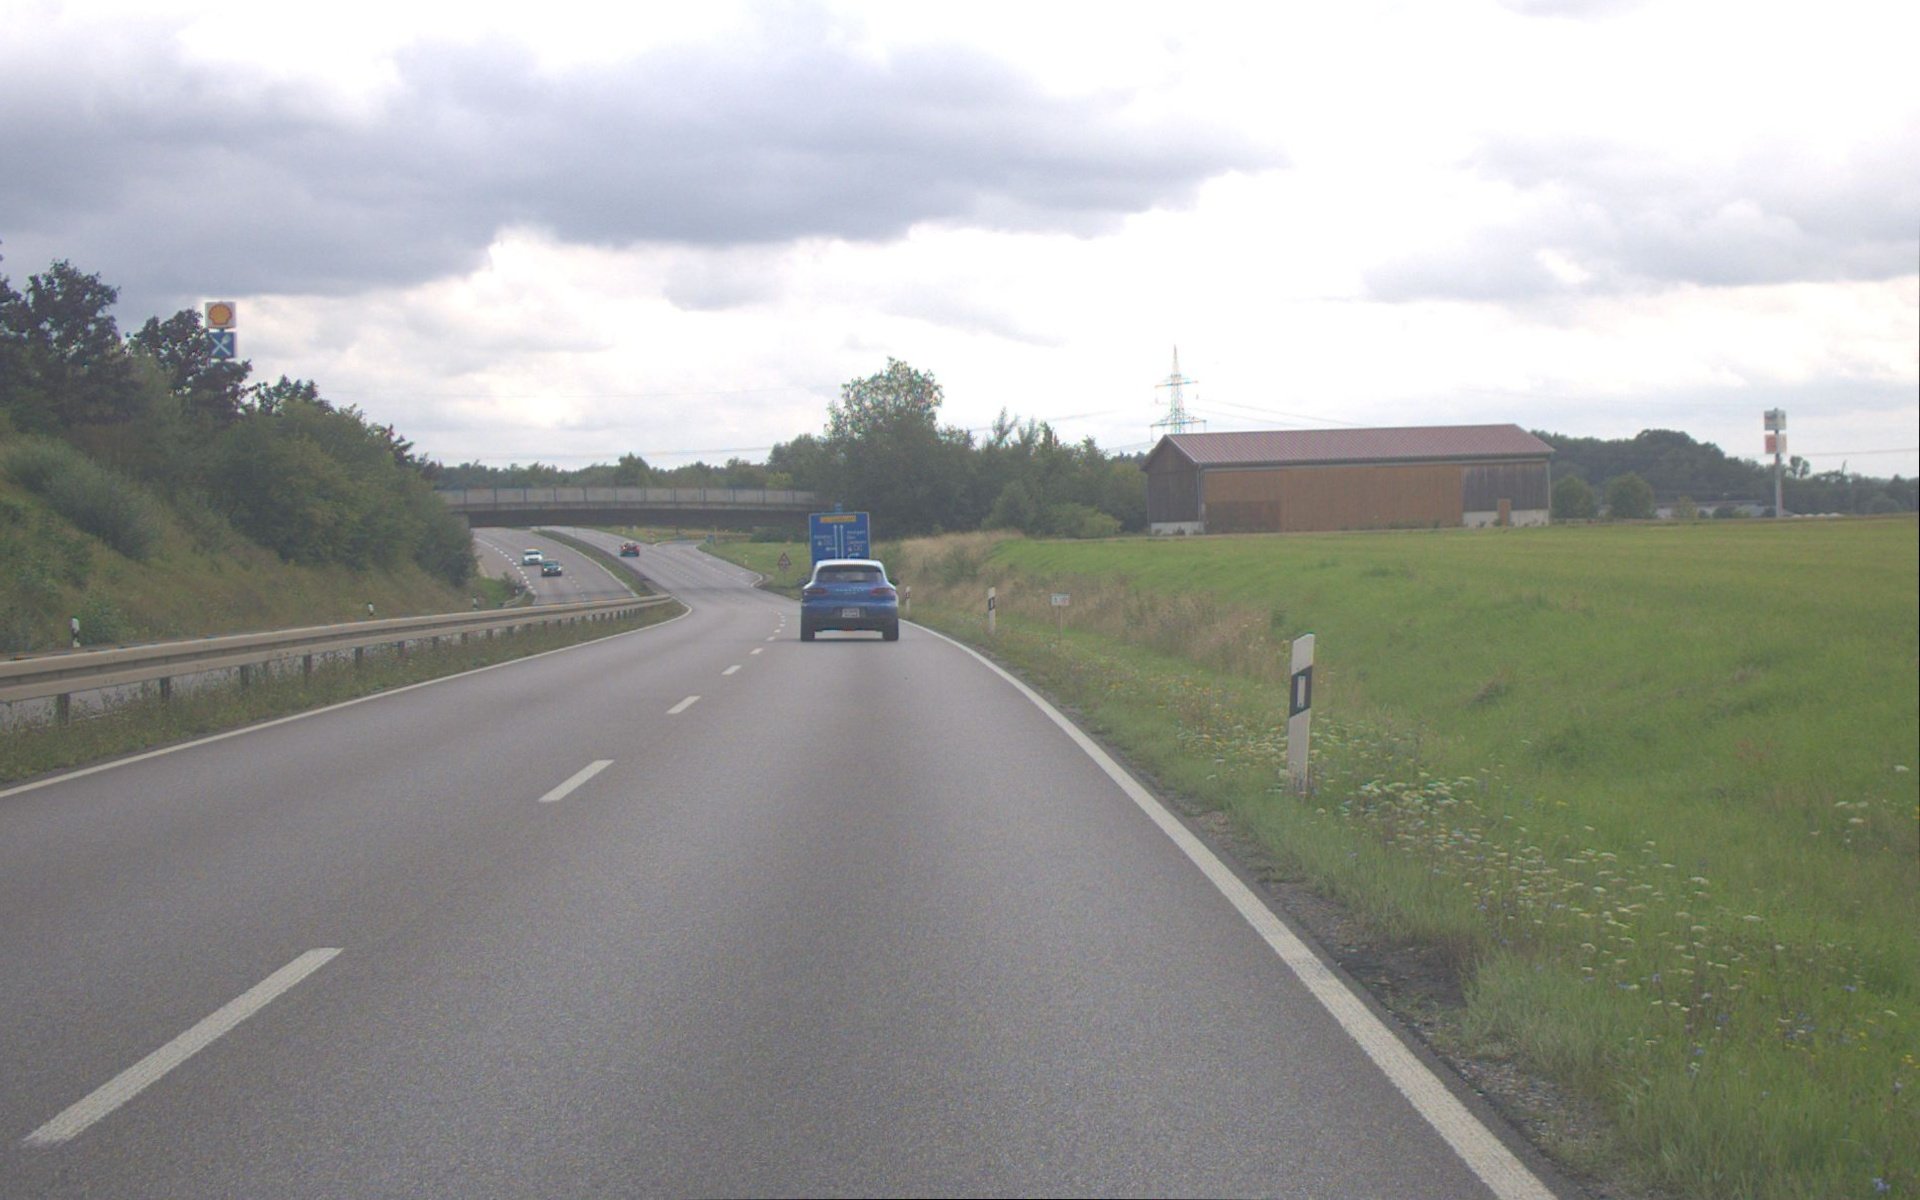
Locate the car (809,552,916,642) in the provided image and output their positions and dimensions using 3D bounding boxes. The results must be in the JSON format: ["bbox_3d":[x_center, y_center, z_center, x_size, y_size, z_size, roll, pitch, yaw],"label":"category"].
[{"bbox_3d":[-1.982,-0.096,68.695,2.033,1.654,4.544,0,2,-3],"label":"car"}]
